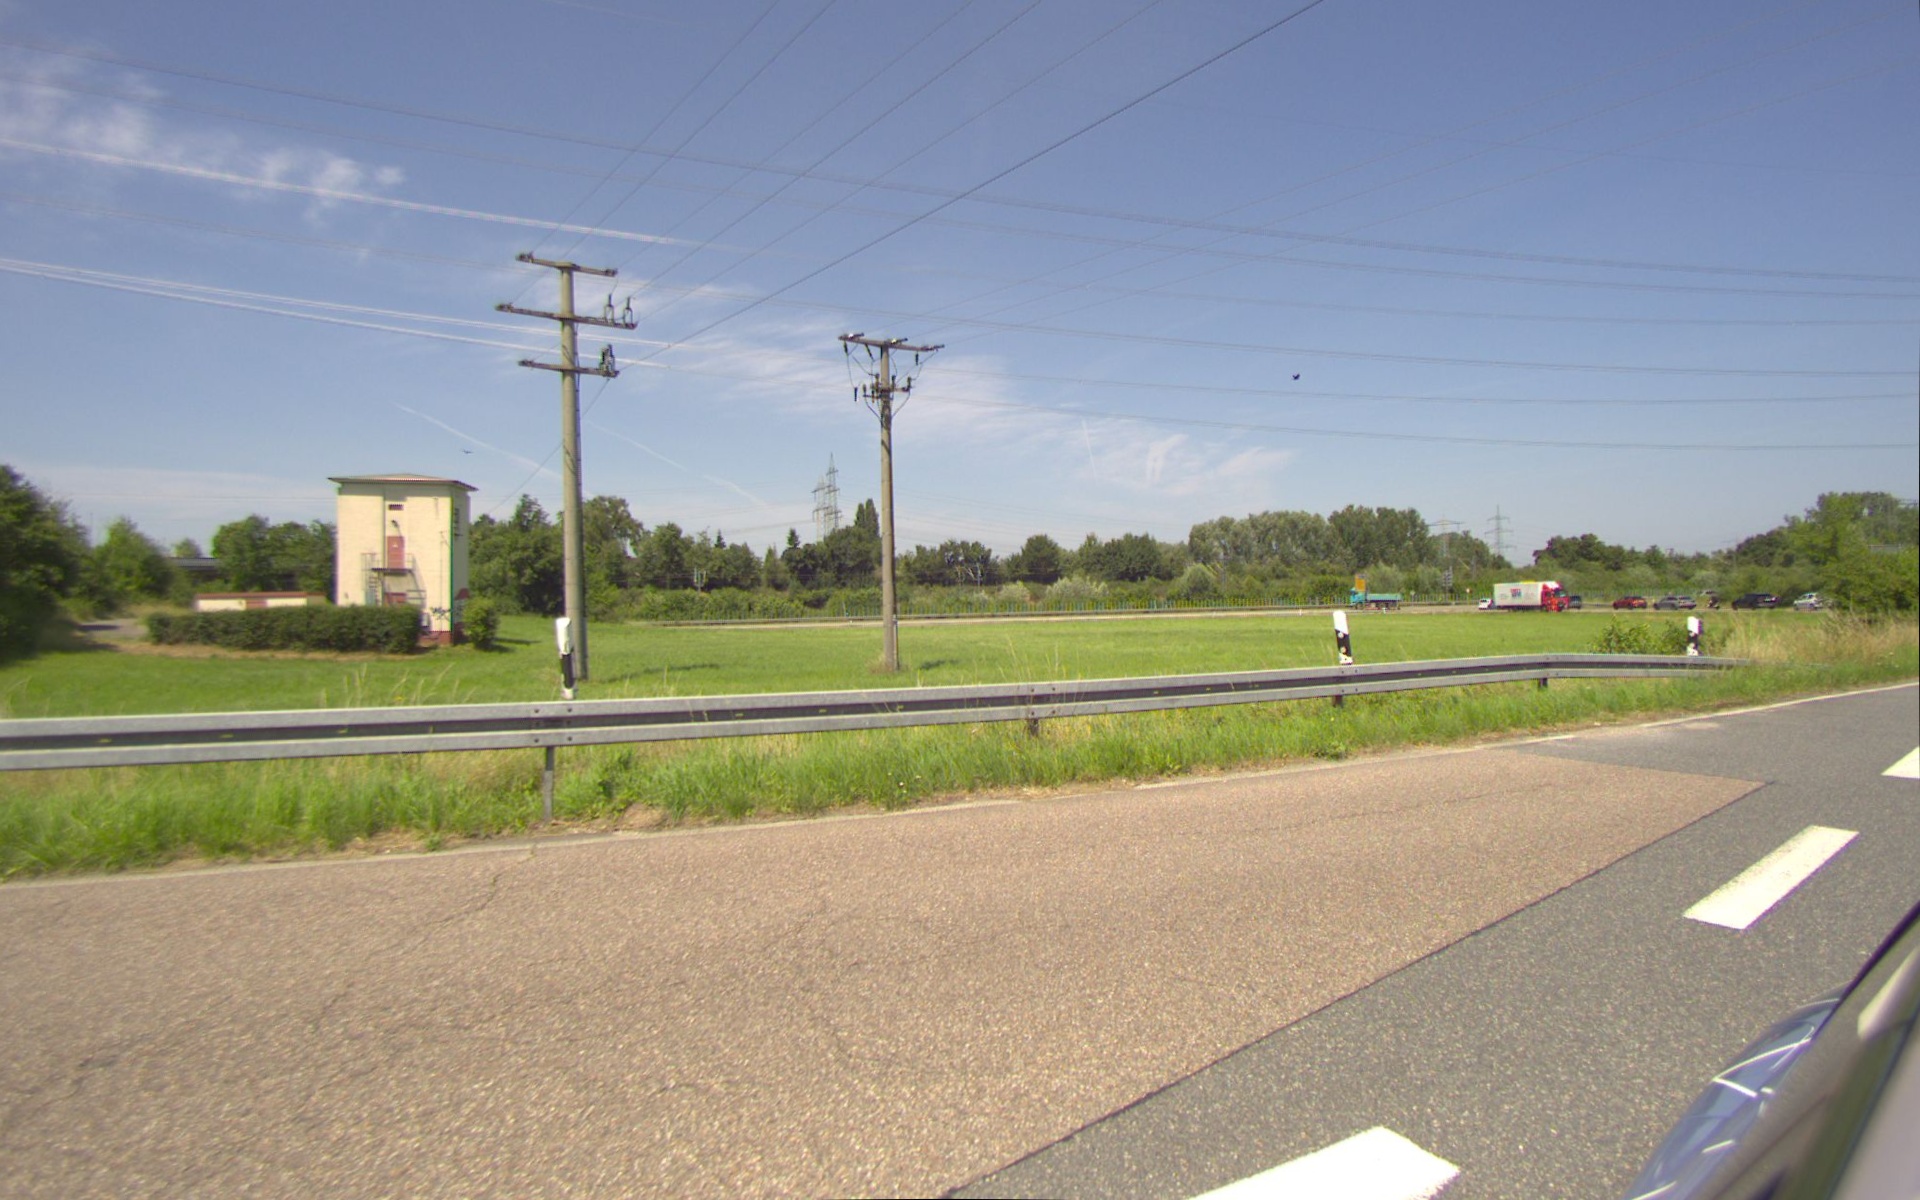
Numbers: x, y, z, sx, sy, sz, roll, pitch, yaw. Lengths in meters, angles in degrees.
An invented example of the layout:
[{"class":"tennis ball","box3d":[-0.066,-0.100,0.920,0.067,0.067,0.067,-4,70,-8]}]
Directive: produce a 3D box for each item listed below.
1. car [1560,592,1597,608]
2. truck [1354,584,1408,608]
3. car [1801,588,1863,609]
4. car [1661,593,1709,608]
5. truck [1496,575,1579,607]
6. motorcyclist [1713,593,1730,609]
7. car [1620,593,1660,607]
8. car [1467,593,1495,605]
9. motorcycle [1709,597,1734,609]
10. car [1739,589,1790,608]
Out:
[{"class":"car","box3d":[78.141,0.024,127.905,1.896,1.855,4.437,-2,0,2]},{"class":"truck","box3d":[64.806,-0.648,155.922,7.516,3.516,2.592,-2,-1,21]},{"class":"car","box3d":[74.256,-0.098,86.249,1.832,1.622,4.759,-3,-2,12]},{"class":"car","box3d":[77.209,0.012,107.820,1.814,1.478,4.804,-2,0,4]},{"class":"truck","box3d":[69.936,-0.992,122.931,2.669,3.624,9.573,-3,0,-15]},{"class":"motorcyclist","box3d":[76.705,0.096,101.928,0.769,1.514,1.129,-2,0,4]},{"class":"car","box3d":[77.751,0.011,115.783,1.772,1.534,4.387,-1,0,4]},{"class":"car","box3d":[78.062,-0.110,151.700,1.744,1.641,4.330,-3,-1,-1]},{"class":"motorcycle","box3d":[76.734,0.332,101.996,0.770,1.137,2.427,-3,0,3]},{"class":"car","box3d":[75.746,-0.131,95.344,1.678,1.659,4.240,-4,-1,7]}]
